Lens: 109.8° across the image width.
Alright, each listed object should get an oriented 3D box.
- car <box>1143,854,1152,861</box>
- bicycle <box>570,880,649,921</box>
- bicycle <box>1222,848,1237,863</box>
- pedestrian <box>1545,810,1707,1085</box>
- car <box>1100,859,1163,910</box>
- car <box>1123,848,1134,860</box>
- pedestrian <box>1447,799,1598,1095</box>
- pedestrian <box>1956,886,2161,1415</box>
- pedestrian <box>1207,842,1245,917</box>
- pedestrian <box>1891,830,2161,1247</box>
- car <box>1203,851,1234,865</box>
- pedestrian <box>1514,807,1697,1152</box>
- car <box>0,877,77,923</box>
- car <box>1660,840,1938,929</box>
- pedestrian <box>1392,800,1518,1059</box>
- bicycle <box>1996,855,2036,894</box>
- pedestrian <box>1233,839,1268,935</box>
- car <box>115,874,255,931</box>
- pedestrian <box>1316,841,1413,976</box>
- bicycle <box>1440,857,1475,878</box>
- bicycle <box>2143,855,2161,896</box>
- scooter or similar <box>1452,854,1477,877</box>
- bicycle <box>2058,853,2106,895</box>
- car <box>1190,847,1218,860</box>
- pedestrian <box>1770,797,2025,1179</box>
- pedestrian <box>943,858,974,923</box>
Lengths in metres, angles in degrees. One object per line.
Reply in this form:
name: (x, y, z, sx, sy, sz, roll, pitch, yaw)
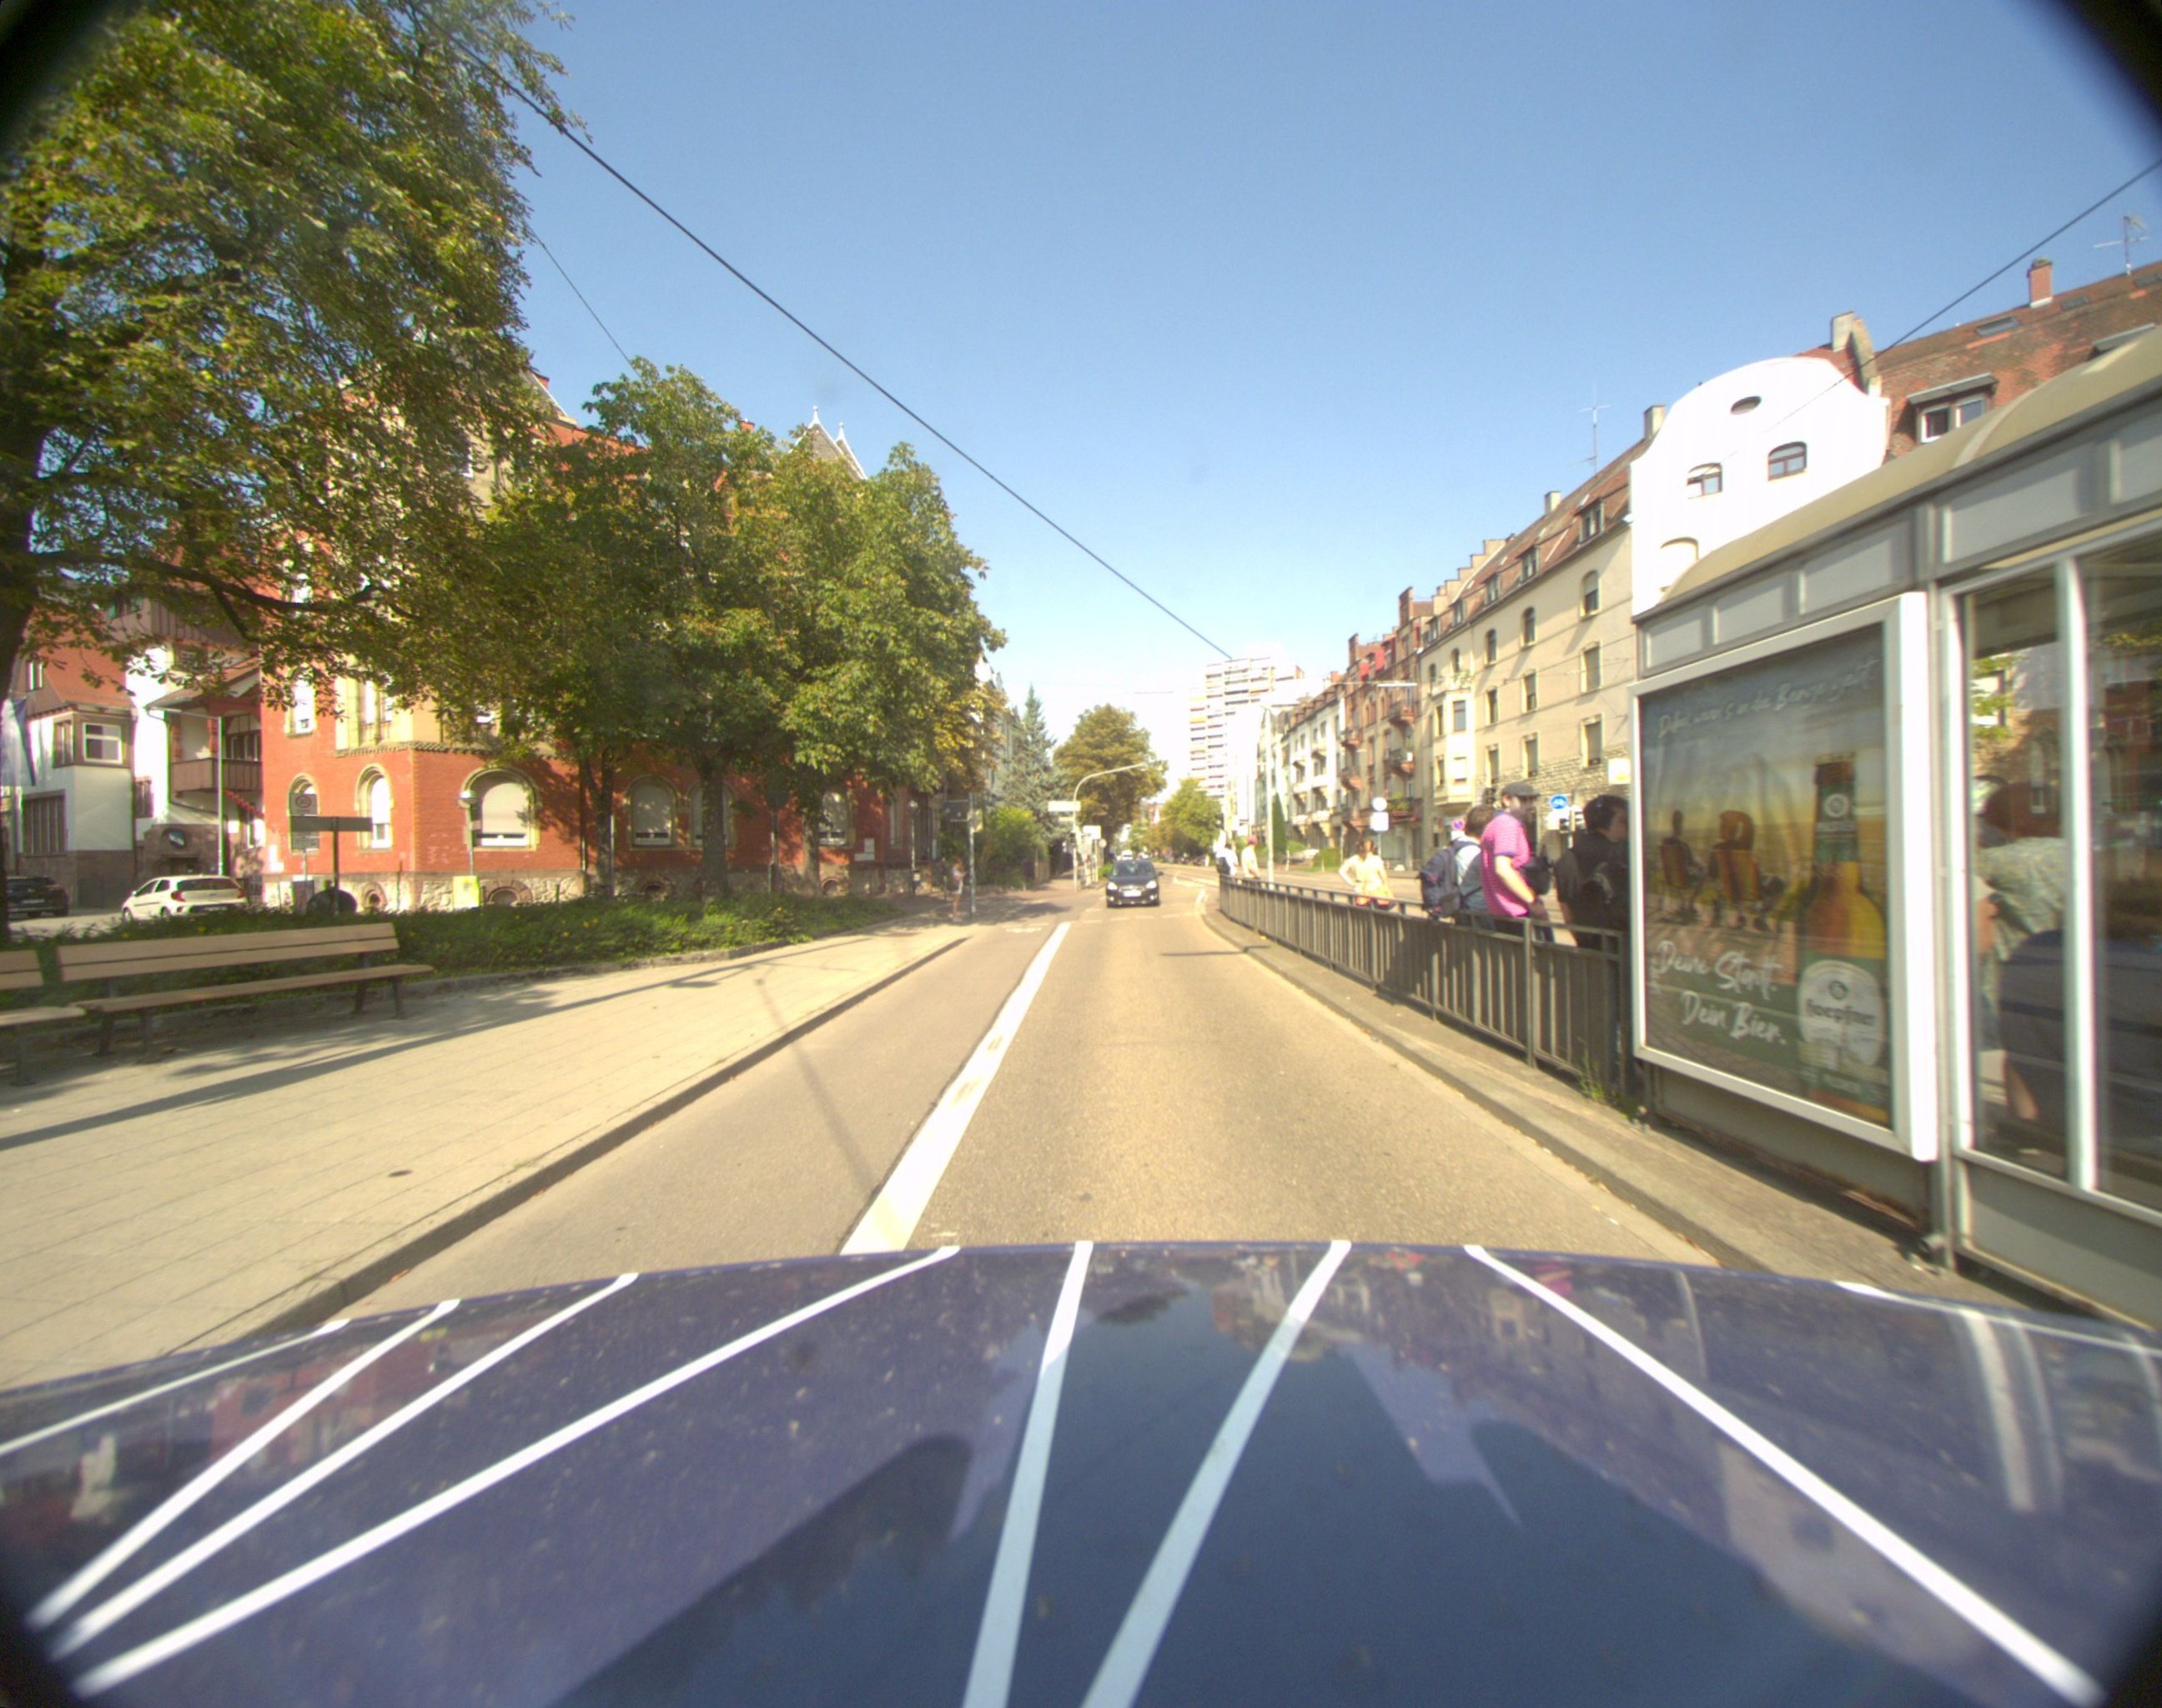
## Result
car: (15.903, 0.862, 181.498, 1.997, 1.639, 4.002, -1, 0, 6)
bicycle: (-14.042, 1.371, 22.675, 0.607, 1.052, 1.843, -4, -1, 43)
bicycle: (19.398, 0.168, 99.262, 1.015, 1.847, 3.554, -3, 1, -4)
pedestrian: (3.647, 0.599, 5.134, 0.638, 1.738, 0.634, -1, 1, 4)
car: (1.733, 0.939, 24.821, 1.774, 1.459, 4.002, -2, 0, 7)
car: (9.227, -0.065, 148.829, 2.087, 2.264, 4.828, -1, 0, 3)
pedestrian: (2.898, 0.586, 5.047, 0.638, 1.837, 0.634, -1, 1, 4)
pedestrian: (3.116, 0.771, 2.091, 0.688, 1.332, 0.622, -1, 0, 2)
pedestrian: (3.559, 0.631, 18.698, 0.730, 1.759, 0.739, -3, -2, 5)
pedestrian: (3.923, 0.681, 3.098, 0.590, 1.535, 0.607, -1, 1, 4)
car: (20.478, 0.568, 113.050, 4.005, 2.002, 1.996, -1, 0, -25)
pedestrian: (2.842, 0.642, 4.171, 0.590, 1.754, 0.607, -1, 1, 4)
car: (-39.474, 1.674, 28.256, 3.990, 1.558, 1.624, -1, 0, 23)
car: (15.234, 0.573, 16.564, 1.998, 1.641, 4.483, -1, 0, 3)
pedestrian: (2.786, 0.544, 5.717, 0.638, 1.837, 0.634, -1, 1, 4)
bicycle: (28.403, 0.593, 23.102, 2.346, 1.073, 0.695, -2, 1, -41)
pedestrian: (3.234, 0.617, 14.540, 0.560, 1.792, 0.676, -1, 1, 5)
car: (-27.436, 1.448, 23.268, 3.990, 1.558, 1.624, -1, 0, 23)
pedestrian: (3.643, 0.675, 9.818, 0.815, 1.645, 0.866, -1, 0, -12)
bicycle: (19.745, 0.689, 39.889, 0.546, 1.097, 1.895, -1, 0, -12)
bicycle: (30.305, 0.582, 21.131, 2.346, 1.073, 0.695, -1, 0, -41)
scooter or similar: (20.376, 0.608, 40.335, 0.443, 1.151, 1.092, -1, 1, -35)
bicycle: (28.996, 0.561, 22.039, 2.346, 1.073, 0.695, -3, 1, -41)
car: (19.704, -0.118, 121.814, 4.005, 2.002, 1.996, -1, 0, -25)
pedestrian: (3.944, 0.608, 3.718, 0.590, 1.711, 0.607, -1, 1, 4)
pedestrian: (-3.295, 0.972, 20.452, 0.543, 1.708, 0.662, -1, 1, 16)
